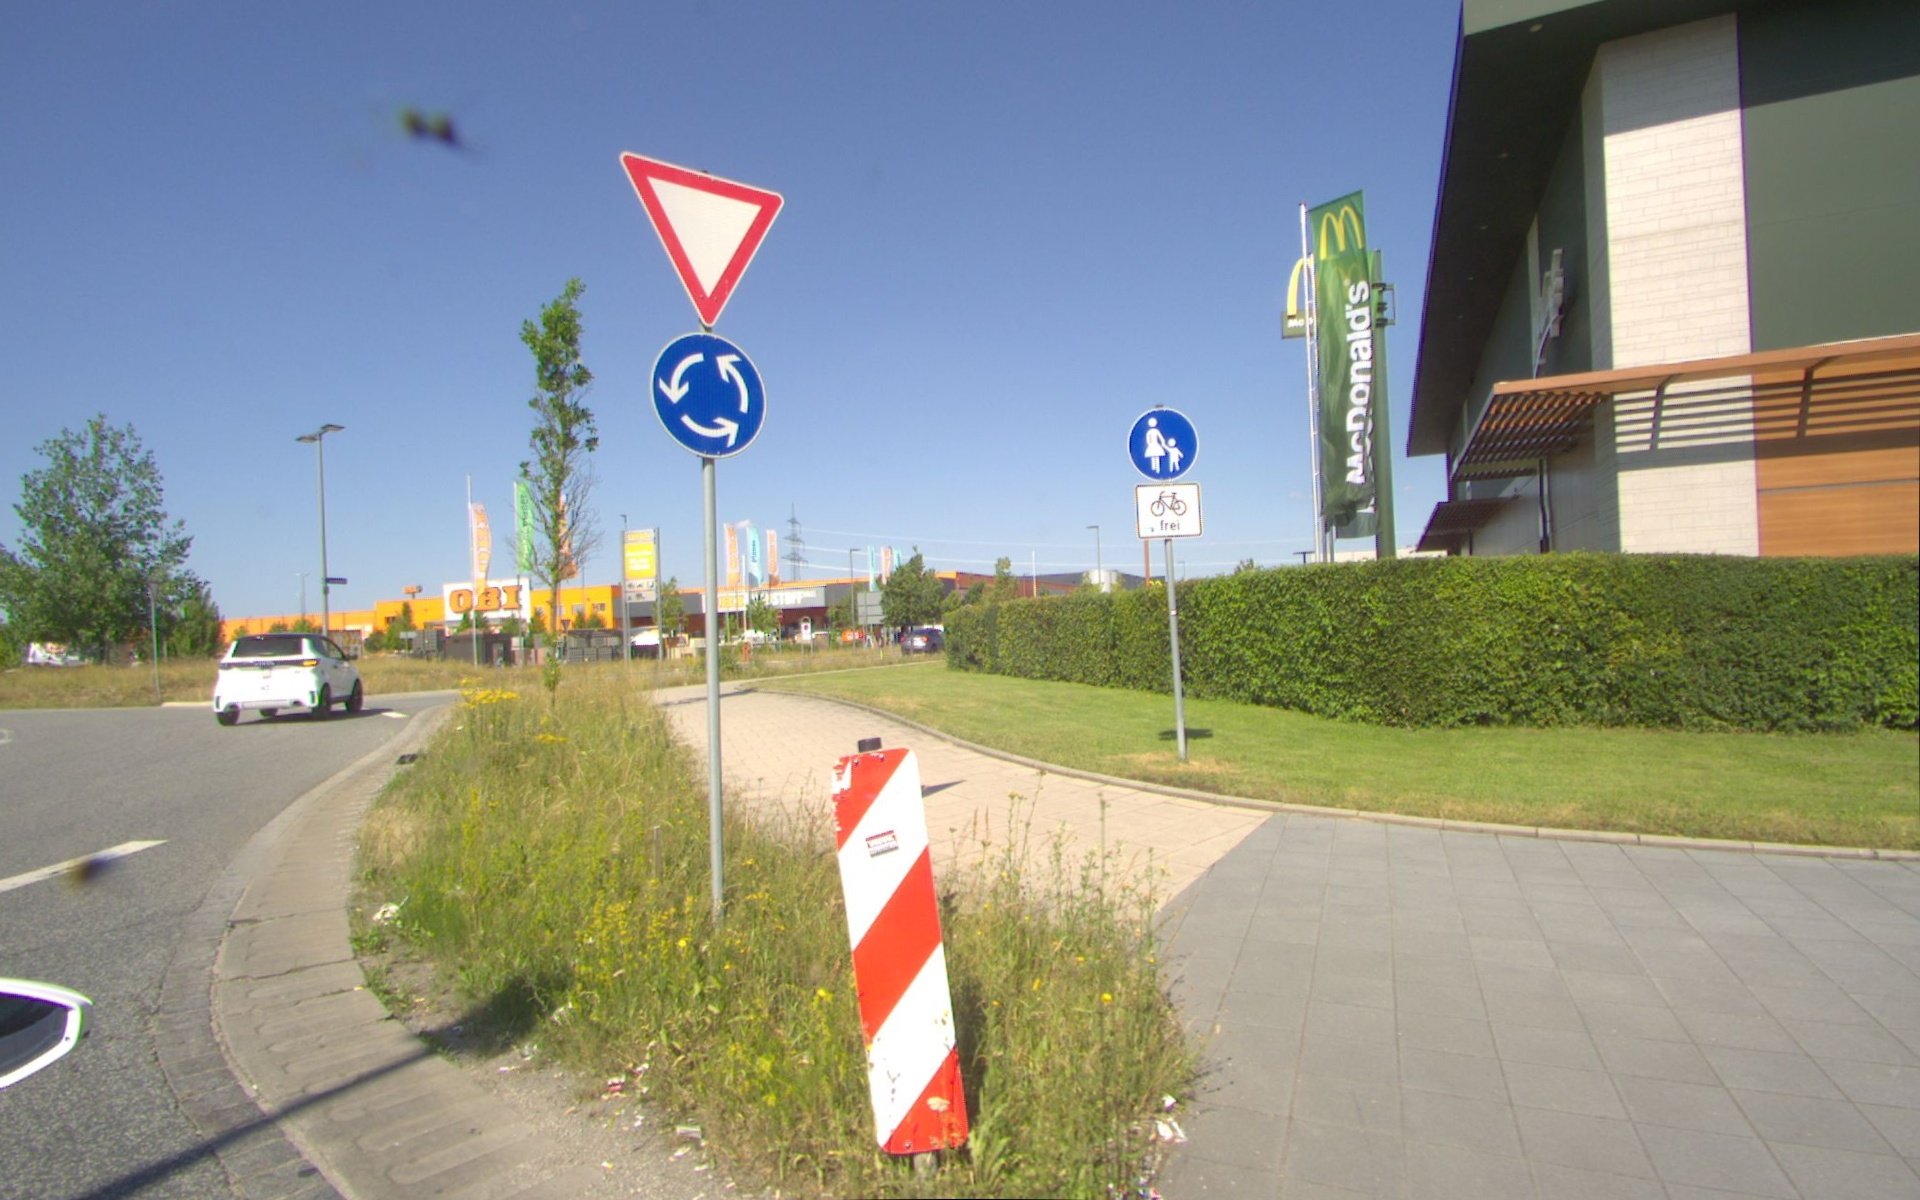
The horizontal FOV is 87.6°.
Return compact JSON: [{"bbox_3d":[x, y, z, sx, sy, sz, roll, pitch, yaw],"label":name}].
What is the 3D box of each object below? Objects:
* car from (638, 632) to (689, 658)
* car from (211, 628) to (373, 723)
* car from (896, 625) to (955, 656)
[{"bbox_3d":[-21.664,3.314,73.311,1.671,1.863,3.770,-2,-3,19],"label":"car"},{"bbox_3d":[-11.524,1.230,17.508,1.488,1.459,3.344,0,-1,-18],"label":"car"},{"bbox_3d":[-1.912,2.299,57.605,1.801,1.605,4.157,-3,-1,22],"label":"car"}]
